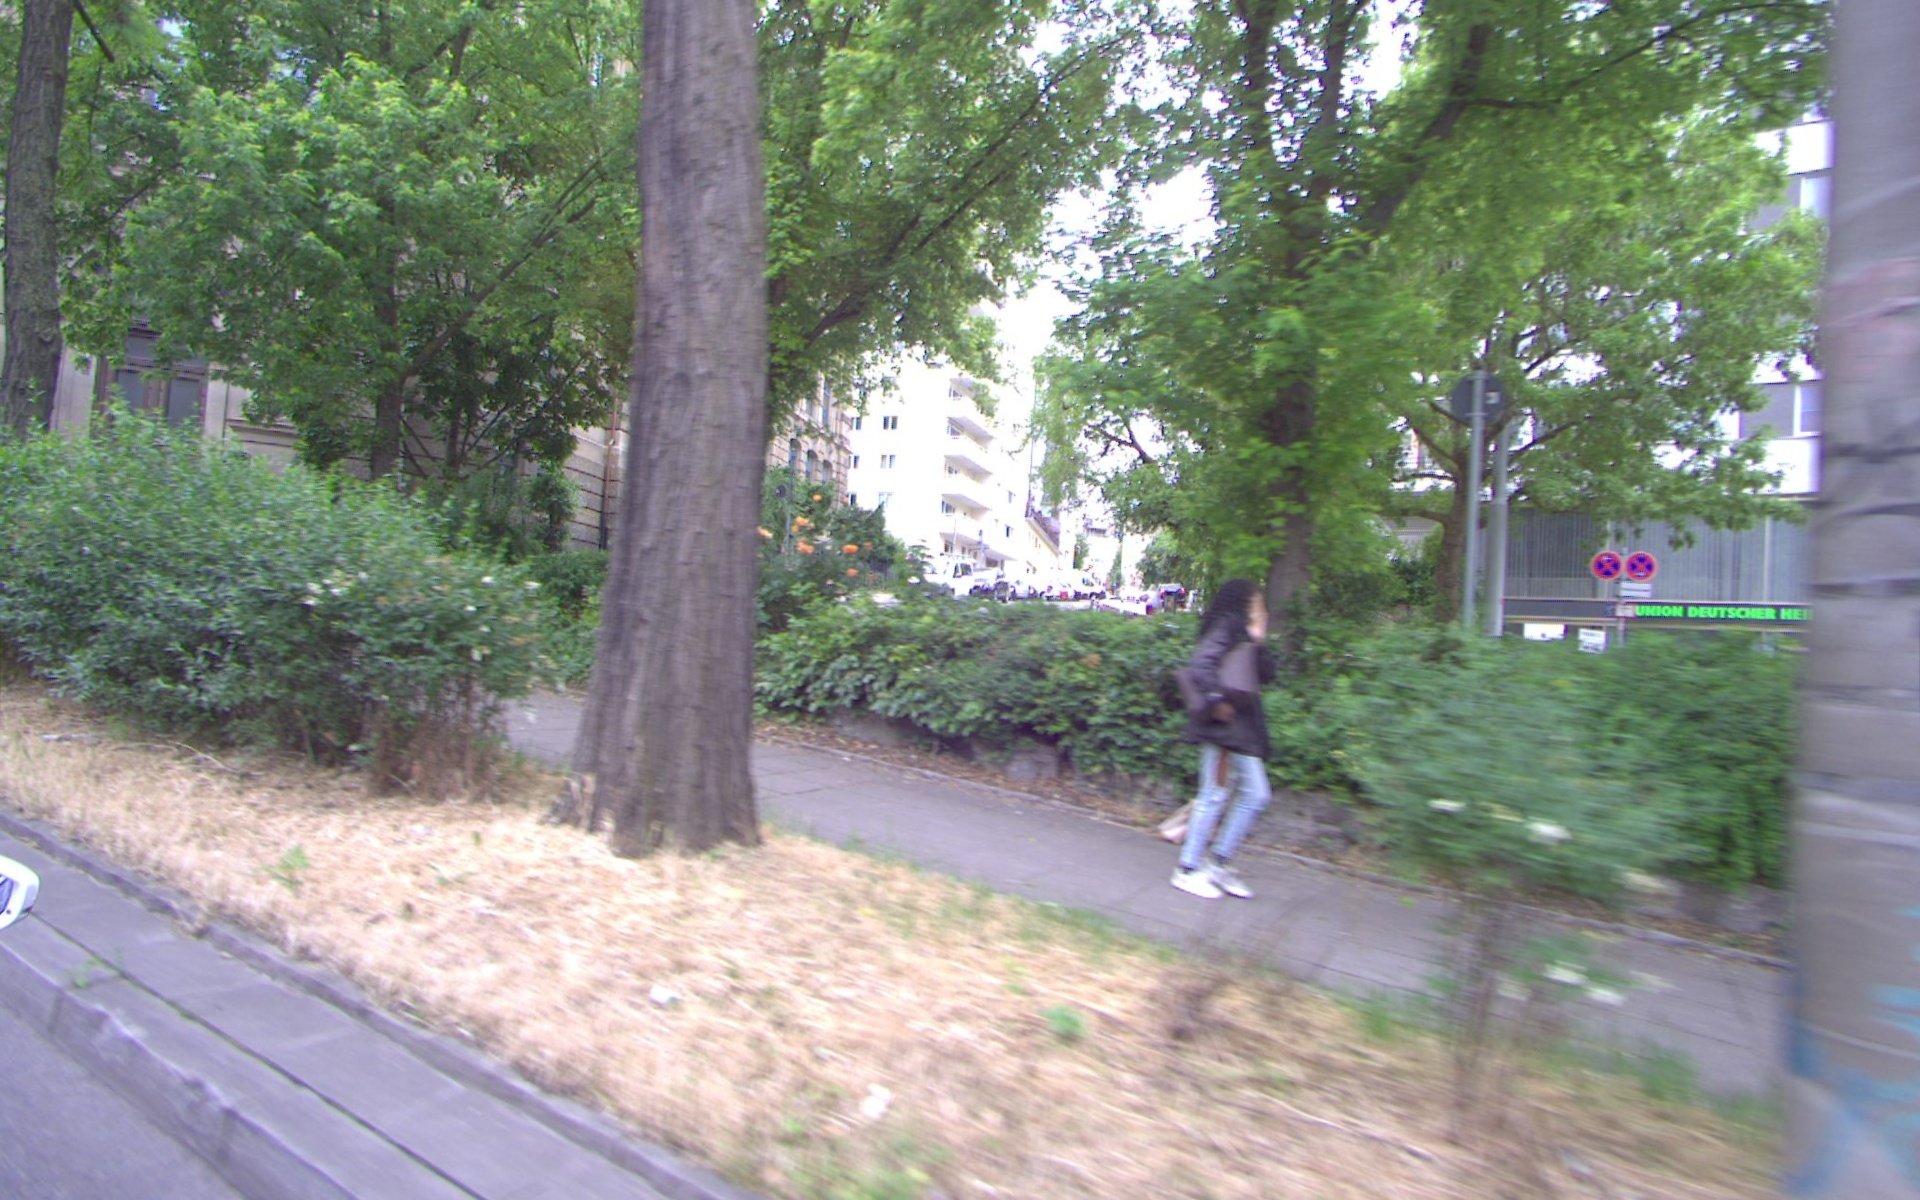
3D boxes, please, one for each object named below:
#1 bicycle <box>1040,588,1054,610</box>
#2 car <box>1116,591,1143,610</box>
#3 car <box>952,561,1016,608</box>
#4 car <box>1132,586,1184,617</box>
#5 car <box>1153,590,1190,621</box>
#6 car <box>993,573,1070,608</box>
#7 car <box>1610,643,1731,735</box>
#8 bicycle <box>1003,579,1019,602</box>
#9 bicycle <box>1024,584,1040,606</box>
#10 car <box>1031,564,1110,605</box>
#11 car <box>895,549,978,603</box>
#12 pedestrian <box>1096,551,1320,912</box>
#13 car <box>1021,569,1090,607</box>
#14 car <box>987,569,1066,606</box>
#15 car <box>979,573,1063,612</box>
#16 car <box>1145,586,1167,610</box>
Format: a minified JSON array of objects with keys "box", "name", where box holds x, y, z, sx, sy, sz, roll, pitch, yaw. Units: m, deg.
[{"box":[5.045,-0.026,58.232,0.597,1.057,2.069,7,-3,8],"name":"bicycle"},{"box":[15.245,0.074,90.781,1.962,1.370,4.002,7,0,5],"name":"car"},{"box":[1.206,-0.670,47.141,1.962,1.776,4.892,6,0,12],"name":"car"},{"box":[16.553,0.139,83.939,3.924,2.039,2.000,7,0,17],"name":"car"},{"box":[13.781,0.353,65.742,1.962,1.777,4.889,6,1,9],"name":"car"},{"box":[4.829,-0.623,67.490,4.796,1.756,2.001,7,0,10],"name":"car"},{"box":[15.237,1.829,21.757,1.803,1.591,3.987,6,2,33],"name":"car"},{"box":[2.986,-0.546,58.302,0.597,1.057,2.069,7,-3,9],"name":"bicycle"},{"box":[4.183,-0.260,58.294,0.597,1.057,2.069,7,-3,9],"name":"bicycle"},{"box":[9.102,-1.298,83.088,6.080,2.669,2.001,7,0,12],"name":"car"},{"box":[-0.879,-0.942,41.165,2.136,1.959,5.215,4,1,12],"name":"car"},{"box":[1.349,0.662,5.431,0.773,1.723,0.772,7,0,35],"name":"pedestrian"},{"box":[7.129,-0.908,74.921,4.796,2.246,2.001,7,0,10],"name":"car"},{"box":[4.335,-0.797,65.393,4.796,1.756,2.001,7,0,10],"name":"car"},{"box":[3.736,-0.447,61.380,4.796,1.756,2.001,7,0,10],"name":"car"},{"box":[20.112,-0.198,103.237,1.962,2.038,4.002,6,0,11],"name":"car"}]
